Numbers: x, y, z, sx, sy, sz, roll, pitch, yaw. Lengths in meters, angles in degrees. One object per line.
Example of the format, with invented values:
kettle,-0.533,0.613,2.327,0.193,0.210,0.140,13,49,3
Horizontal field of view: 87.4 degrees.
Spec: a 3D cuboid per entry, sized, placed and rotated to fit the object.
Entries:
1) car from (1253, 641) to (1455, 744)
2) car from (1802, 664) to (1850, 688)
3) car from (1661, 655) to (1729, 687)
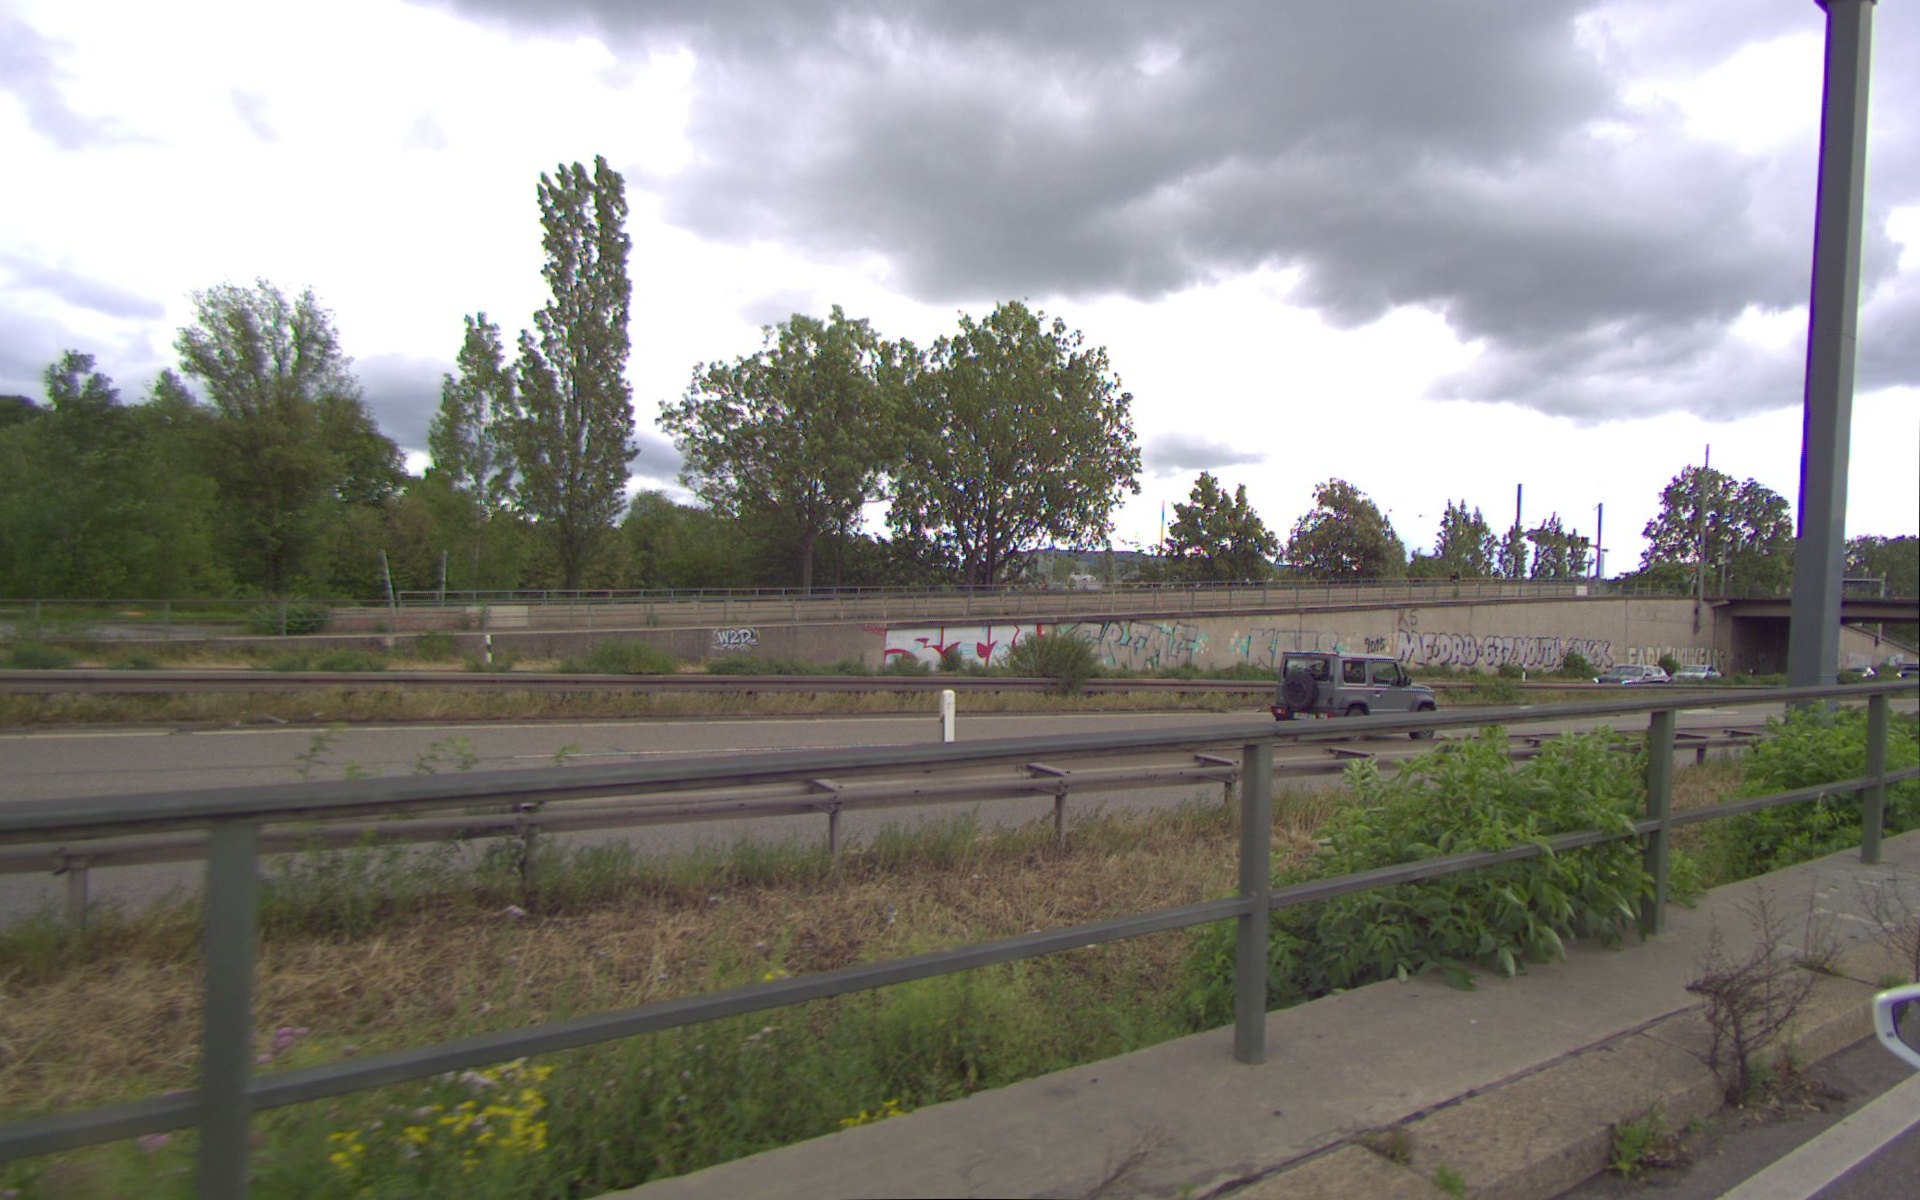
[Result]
car,7.726,1.760,19.599,3.956,1.758,1.671,3,-2,-33
car,70.606,6.198,81.869,4.659,1.742,1.980,4,-2,-36
car,47.181,4.568,64.458,4.656,1.714,1.982,6,-4,-33
